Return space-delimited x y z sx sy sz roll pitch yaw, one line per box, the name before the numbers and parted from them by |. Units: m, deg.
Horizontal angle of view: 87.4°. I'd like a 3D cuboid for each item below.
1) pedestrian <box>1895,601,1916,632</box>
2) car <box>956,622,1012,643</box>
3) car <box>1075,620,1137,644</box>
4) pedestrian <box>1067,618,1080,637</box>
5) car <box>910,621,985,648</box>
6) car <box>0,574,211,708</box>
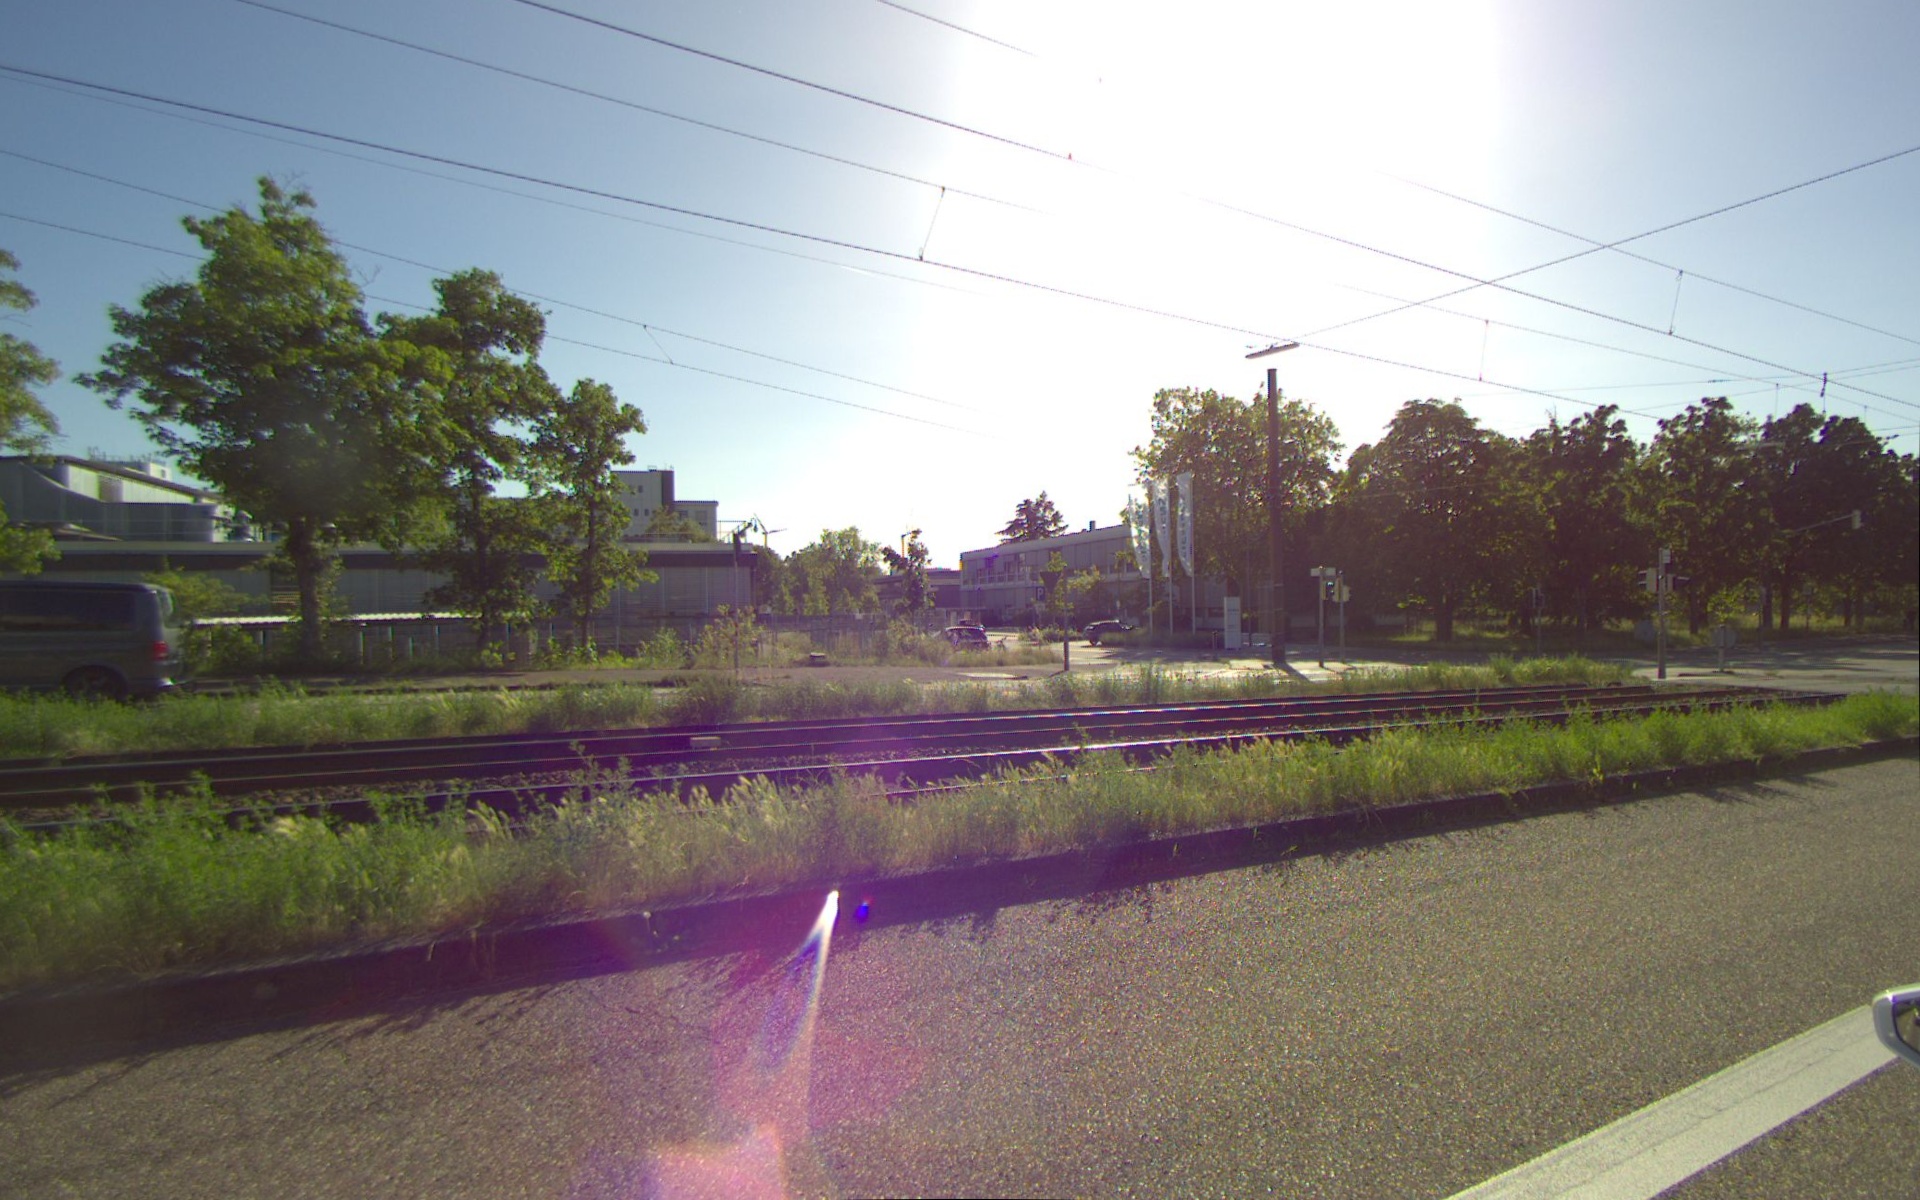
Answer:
pedestrian | 63.990 1.108 68.007 0.853 2.040 0.835 0 0 -31
car | 1.832 2.434 75.763 3.893 1.471 1.688 1 0 -21
car | 9.550 2.068 65.656 3.818 1.508 1.682 1 0 -31
pedestrian | 9.387 2.250 82.810 0.811 1.549 0.761 0 0 -22
car | -0.704 1.897 55.684 3.806 1.453 1.688 1 0 -23
car | -14.487 0.584 15.208 4.731 1.916 2.188 1 0 -28
